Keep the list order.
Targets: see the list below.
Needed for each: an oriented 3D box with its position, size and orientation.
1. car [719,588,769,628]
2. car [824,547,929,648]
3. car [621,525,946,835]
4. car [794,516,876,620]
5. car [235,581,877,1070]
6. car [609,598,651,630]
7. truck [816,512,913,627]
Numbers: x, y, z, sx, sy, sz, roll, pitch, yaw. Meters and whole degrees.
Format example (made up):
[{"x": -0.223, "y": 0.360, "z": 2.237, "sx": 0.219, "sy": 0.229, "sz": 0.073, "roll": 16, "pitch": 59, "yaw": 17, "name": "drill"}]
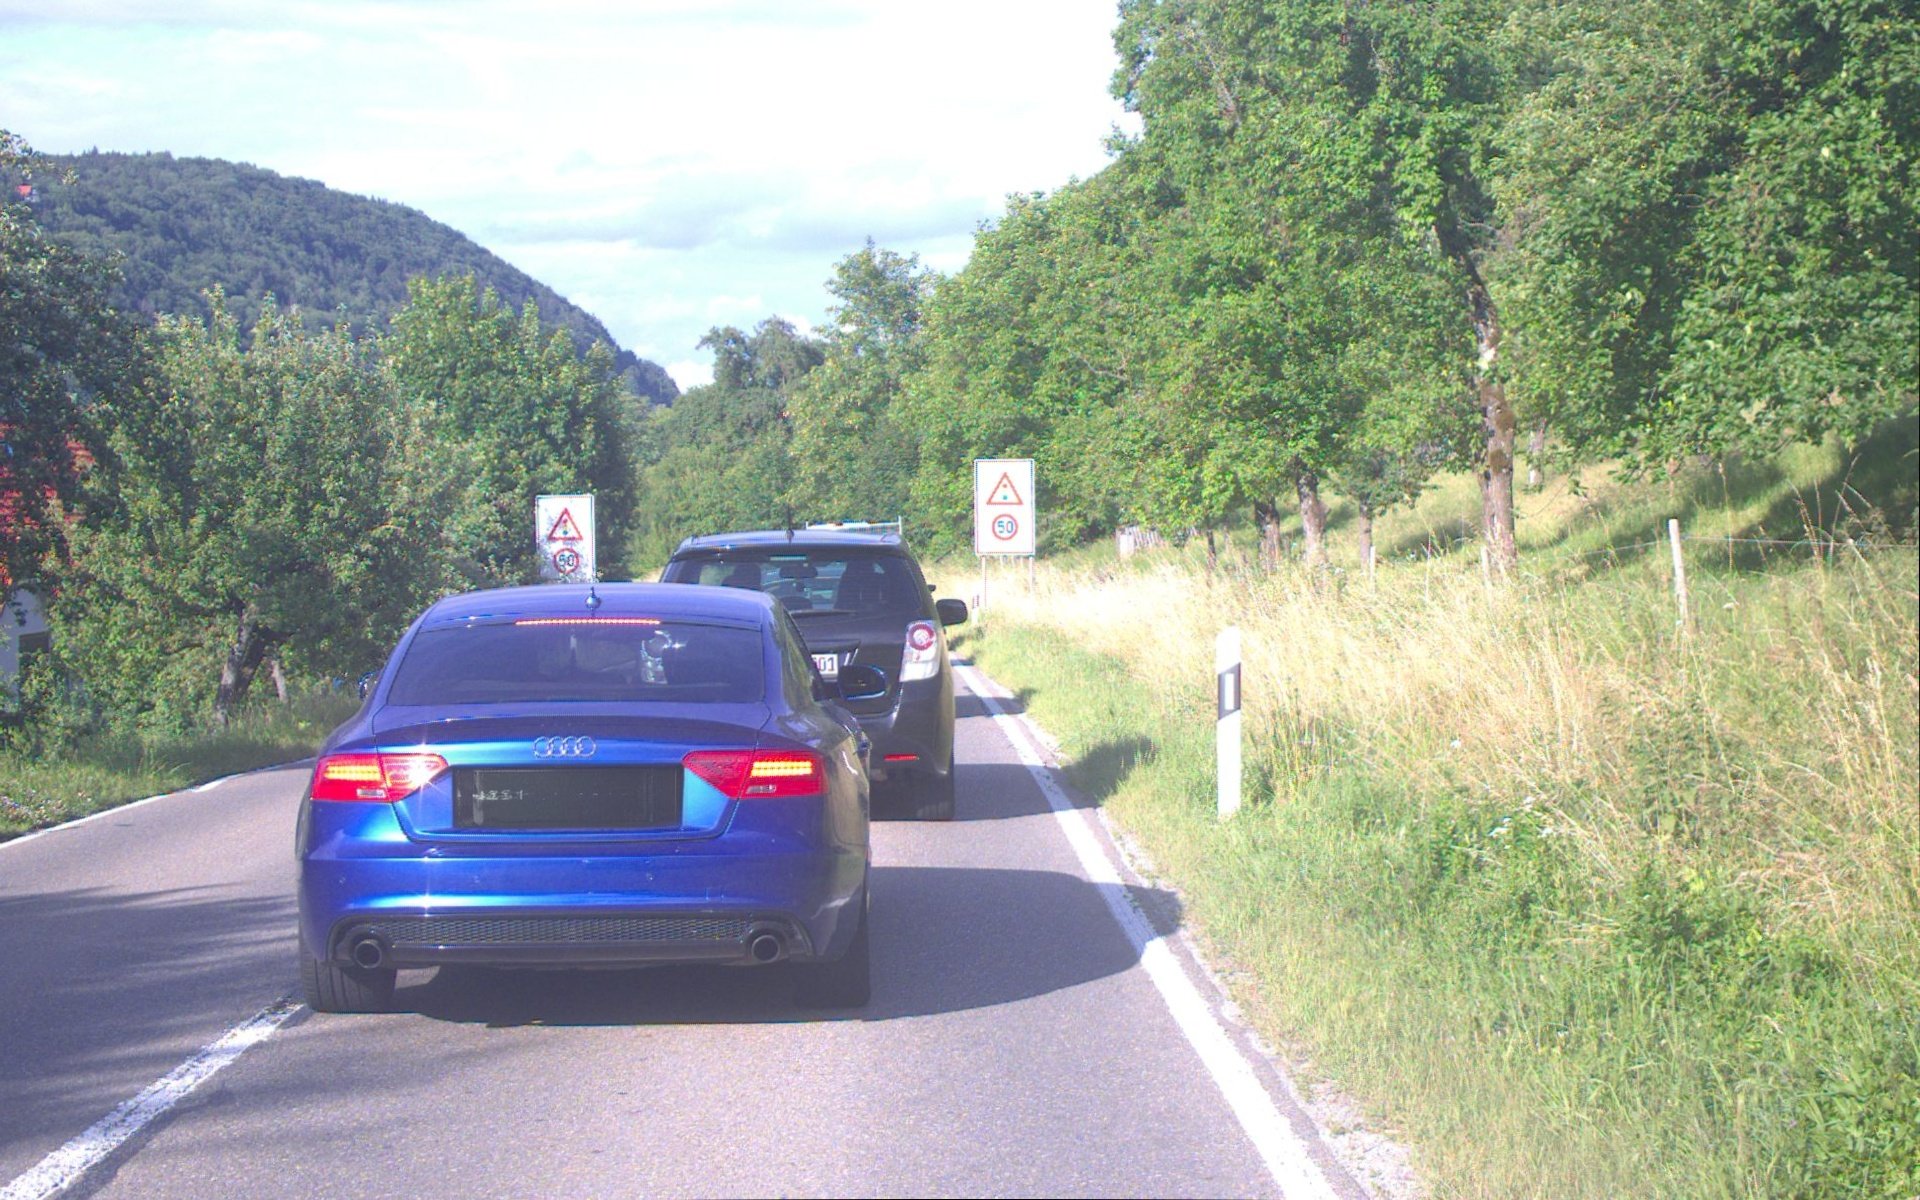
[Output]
[{"x": -8.587, "y": 0.298, "z": 136.524, "sx": 1.558, "sy": 1.490, "sz": 3.779, "roll": 1, "pitch": 1, "yaw": -10, "name": "car"}, {"x": -1.393, "y": -0.068, "z": 57.541, "sx": 1.692, "sy": 1.618, "sz": 3.789, "roll": 0, "pitch": 1, "yaw": -1, "name": "car"}, {"x": -0.972, "y": 0.388, "z": 19.955, "sx": 1.692, "sy": 1.618, "sz": 3.789, "roll": 0, "pitch": 1, "yaw": -1, "name": "car"}, {"x": -3.053, "y": -0.779, "z": 83.385, "sx": 1.792, "sy": 2.445, "sz": 3.920, "roll": 1, "pitch": 1, "yaw": -4, "name": "car"}, {"x": -1.219, "y": 0.641, "z": 12.059, "sx": 1.805, "sy": 1.377, "sz": 4.215, "roll": -1, "pitch": 1, "yaw": -1, "name": "car"}, {"x": -16.674, "y": 0.696, "z": 173.672, "sx": 1.558, "sy": 1.490, "sz": 3.779, "roll": 1, "pitch": 1, "yaw": -13, "name": "car"}, {"x": -2.052, "y": -0.663, "z": 73.255, "sx": 1.950, "sy": 2.337, "sz": 5.094, "roll": 1, "pitch": 1, "yaw": -2, "name": "truck"}]
